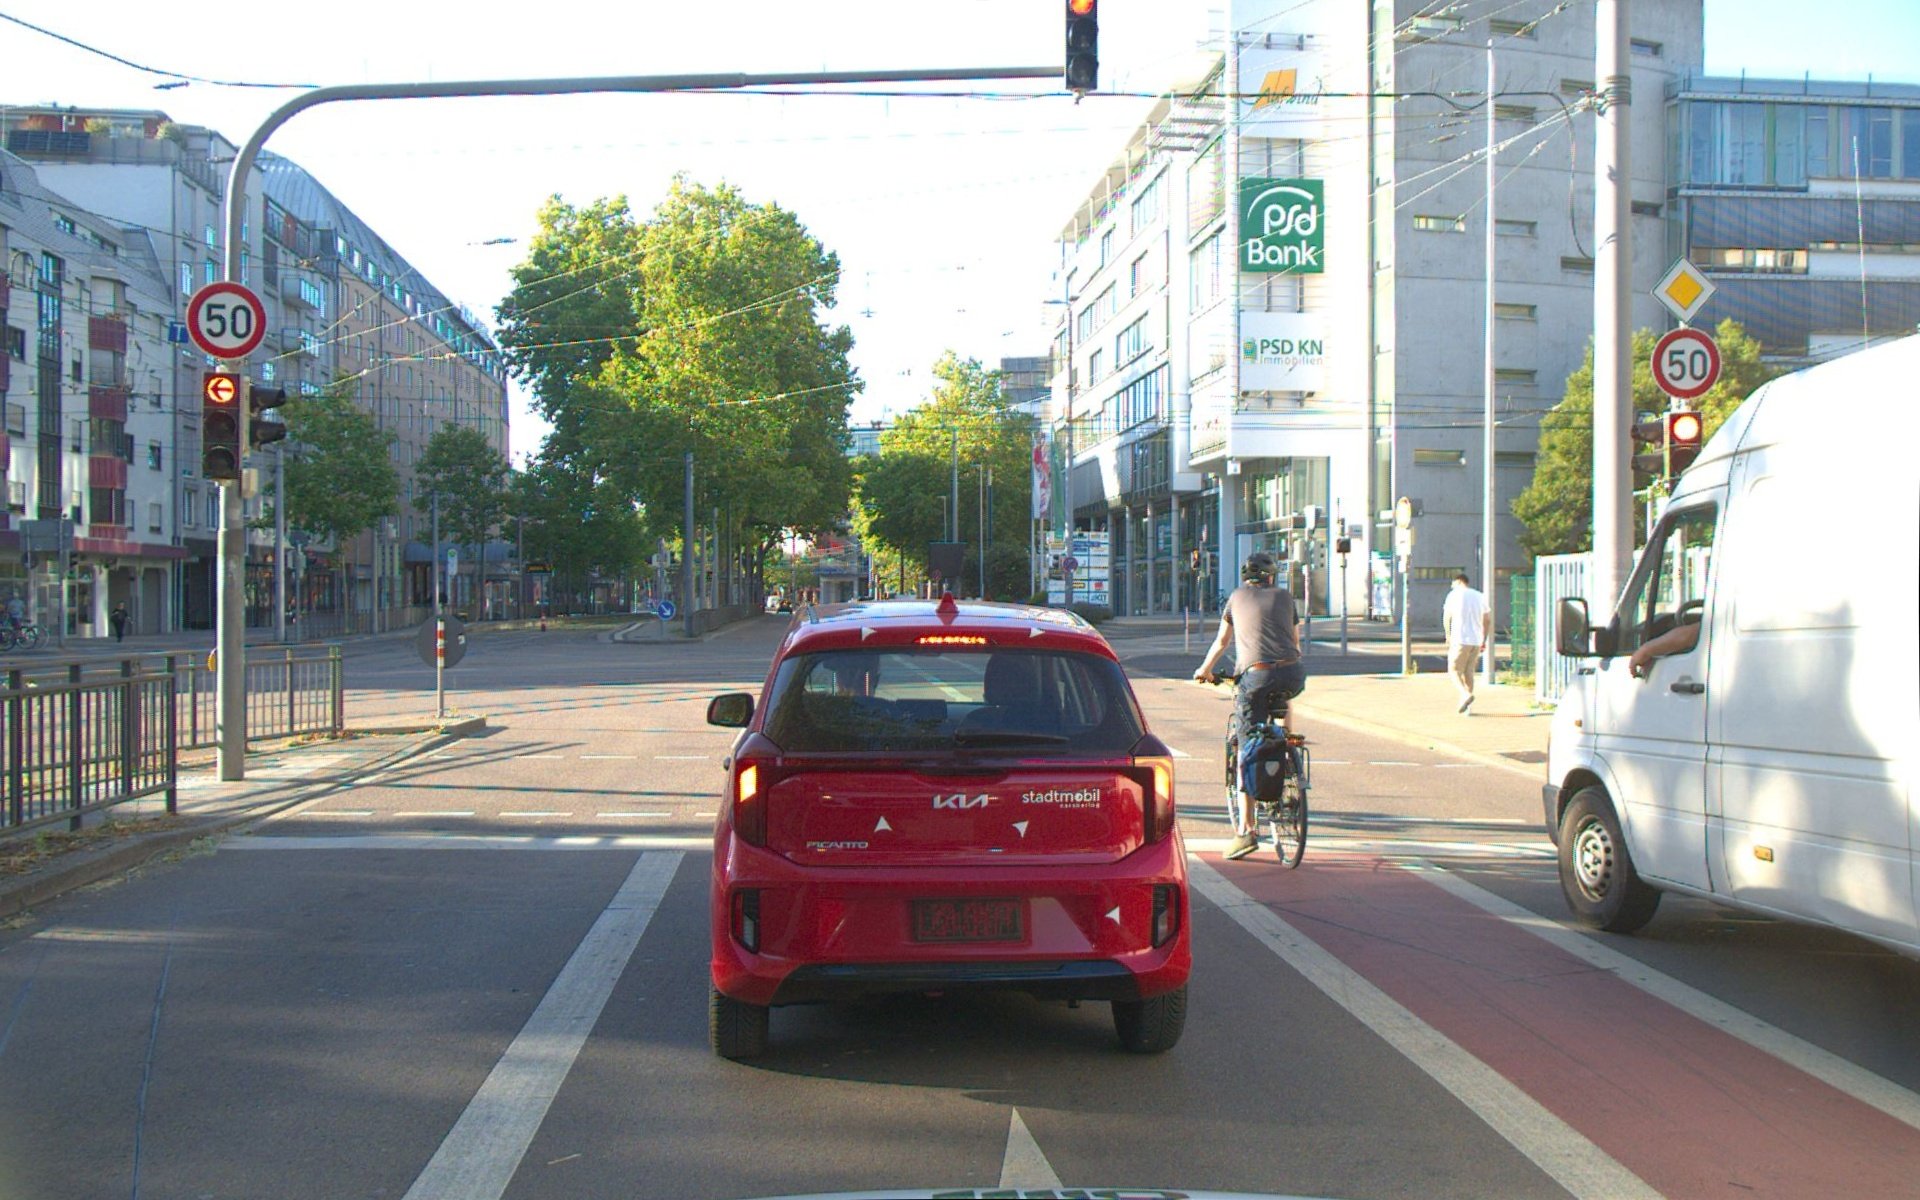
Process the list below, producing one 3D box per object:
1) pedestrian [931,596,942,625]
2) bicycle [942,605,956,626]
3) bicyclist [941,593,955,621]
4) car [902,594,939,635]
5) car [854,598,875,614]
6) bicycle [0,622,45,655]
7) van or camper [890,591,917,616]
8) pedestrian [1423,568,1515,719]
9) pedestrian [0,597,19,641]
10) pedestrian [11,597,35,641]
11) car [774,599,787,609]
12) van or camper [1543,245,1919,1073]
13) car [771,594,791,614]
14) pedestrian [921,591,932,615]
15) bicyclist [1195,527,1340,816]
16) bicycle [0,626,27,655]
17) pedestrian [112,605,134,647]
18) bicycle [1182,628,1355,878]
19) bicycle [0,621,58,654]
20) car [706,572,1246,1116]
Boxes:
[{"bbox_3d":[-1.397,0.636,97.405,0.633,1.710,0.651,0,0,0],"label":"pedestrian"},{"bbox_3d":[-0.653,0.901,97.310,0.682,1.117,1.751,-4,1,2],"label":"bicycle"},{"bbox_3d":[-0.688,0.407,97.274,0.707,1.631,1.089,-3,0,3],"label":"bicyclist"},{"bbox_3d":[-1.830,0.656,76.019,1.603,1.831,3.327,0,0,-3],"label":"car"},{"bbox_3d":[-9.623,0.624,167.057,1.745,1.561,3.504,0,0,-10],"label":"car"},{"bbox_3d":[-29.599,1.197,51.549,1.808,1.002,0.552,0,0,-8],"label":"bicycle"},{"bbox_3d":[-4.542,0.281,132.222,1.954,2.024,4.740,0,0,-4],"label":"van or camper"},{"bbox_3d":[6.419,0.531,20.922,0.761,1.855,1.215,0,0,-1],"label":"pedestrian"},{"bbox_3d":[-33.394,0.663,57.979,0.524,1.520,0.586,0,0,-9],"label":"pedestrian"},{"bbox_3d":[-32.843,0.673,57.976,0.524,1.520,0.586,0,0,-9],"label":"pedestrian"},{"bbox_3d":[-27.782,0.639,255.404,1.745,1.561,3.403,0,0,-10],"label":"car"},{"bbox_3d":[4.179,0.202,5.435,1.930,2.763,6.300,1,0,-4],"label":"van or camper"},{"bbox_3d":[-19.015,0.422,175.285,1.956,2.049,3.992,0,0,-8],"label":"car"},{"bbox_3d":[-2.367,0.204,117.588,0.630,1.607,0.722,-4,0,-8],"label":"pedestrian"},{"bbox_3d":[1.821,0.402,9.913,0.637,1.631,1.088,0,0,-1],"label":"bicyclist"},{"bbox_3d":[-29.450,1.237,50.285,1.806,0.869,0.553,0,0,-4],"label":"bicycle"},{"bbox_3d":[-31.754,0.972,62.754,0.684,1.571,1.039,0,0,-29],"label":"pedestrian"},{"bbox_3d":[1.803,0.843,9.936,0.637,1.303,1.965,0,0,-1],"label":"bicycle"},{"bbox_3d":[-29.542,1.171,52.165,1.808,1.002,0.552,0,0,-8],"label":"bicycle"},{"bbox_3d":[-0.094,0.702,6.536,1.582,1.561,3.408,0,0,-5],"label":"car"}]
